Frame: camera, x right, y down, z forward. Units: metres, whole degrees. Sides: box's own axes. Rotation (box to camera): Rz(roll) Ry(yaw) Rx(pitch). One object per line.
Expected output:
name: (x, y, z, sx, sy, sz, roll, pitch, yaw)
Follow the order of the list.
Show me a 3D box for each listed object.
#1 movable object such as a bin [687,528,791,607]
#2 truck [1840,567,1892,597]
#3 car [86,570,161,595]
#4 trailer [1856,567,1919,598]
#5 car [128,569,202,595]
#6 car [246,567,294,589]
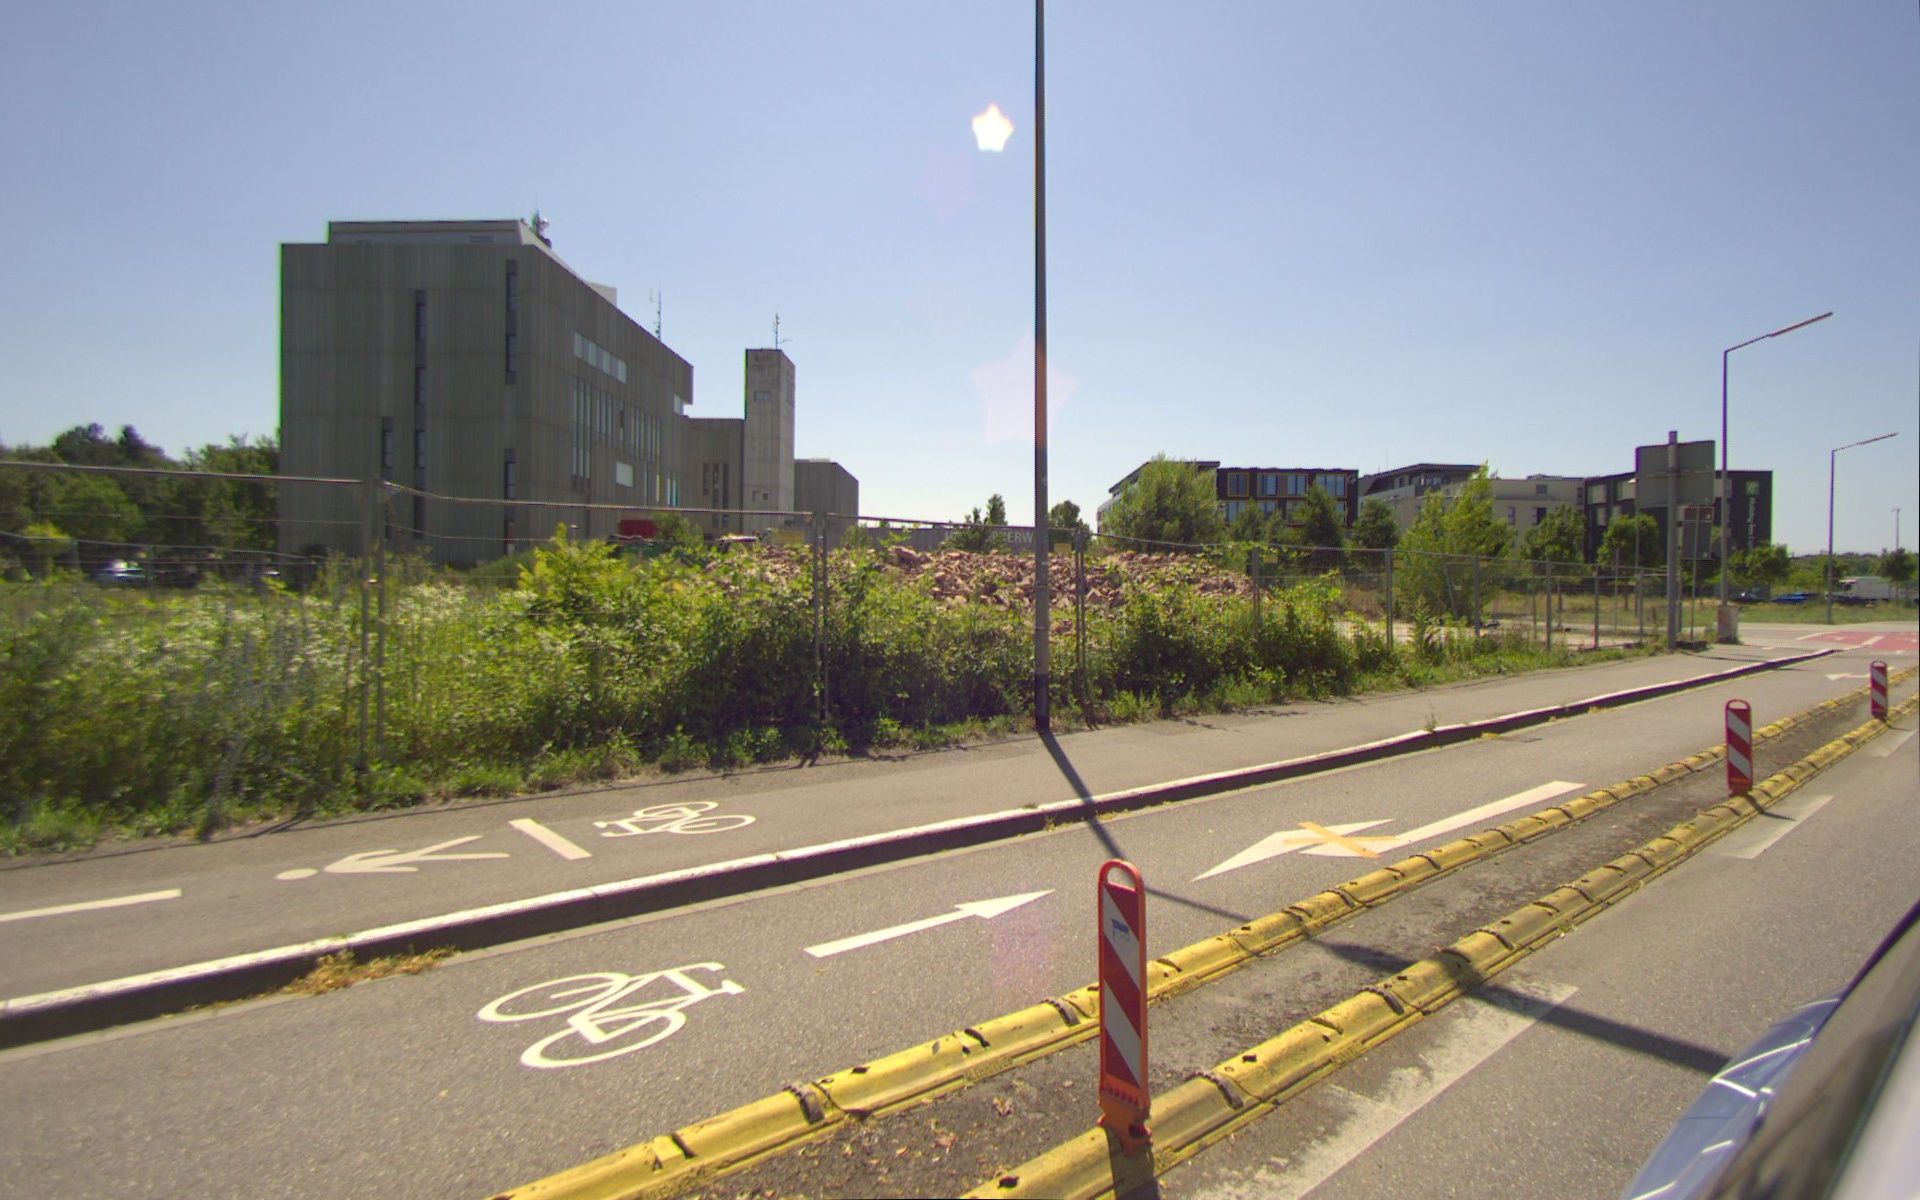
movable object such as a bin: (-9.099, -1.311, 41.705, 3.619, 3.101, 2.207, 0, 0, -35)
truck: (102.084, -2.042, 114.067, 3.928, 3.378, 1.998, 1, 1, 5)
car: (-59.436, -1.238, 72.022, 1.778, 1.772, 3.991, 0, 0, 8)
trailer: (105.880, -1.965, 113.756, 8.030, 3.391, 1.998, 1, 1, 5)
car: (-56.127, -1.250, 71.520, 1.778, 1.772, 3.991, 0, 0, 8)
car: (-66.545, -2.099, 97.667, 1.961, 2.039, 4.001, 0, 0, -2)
